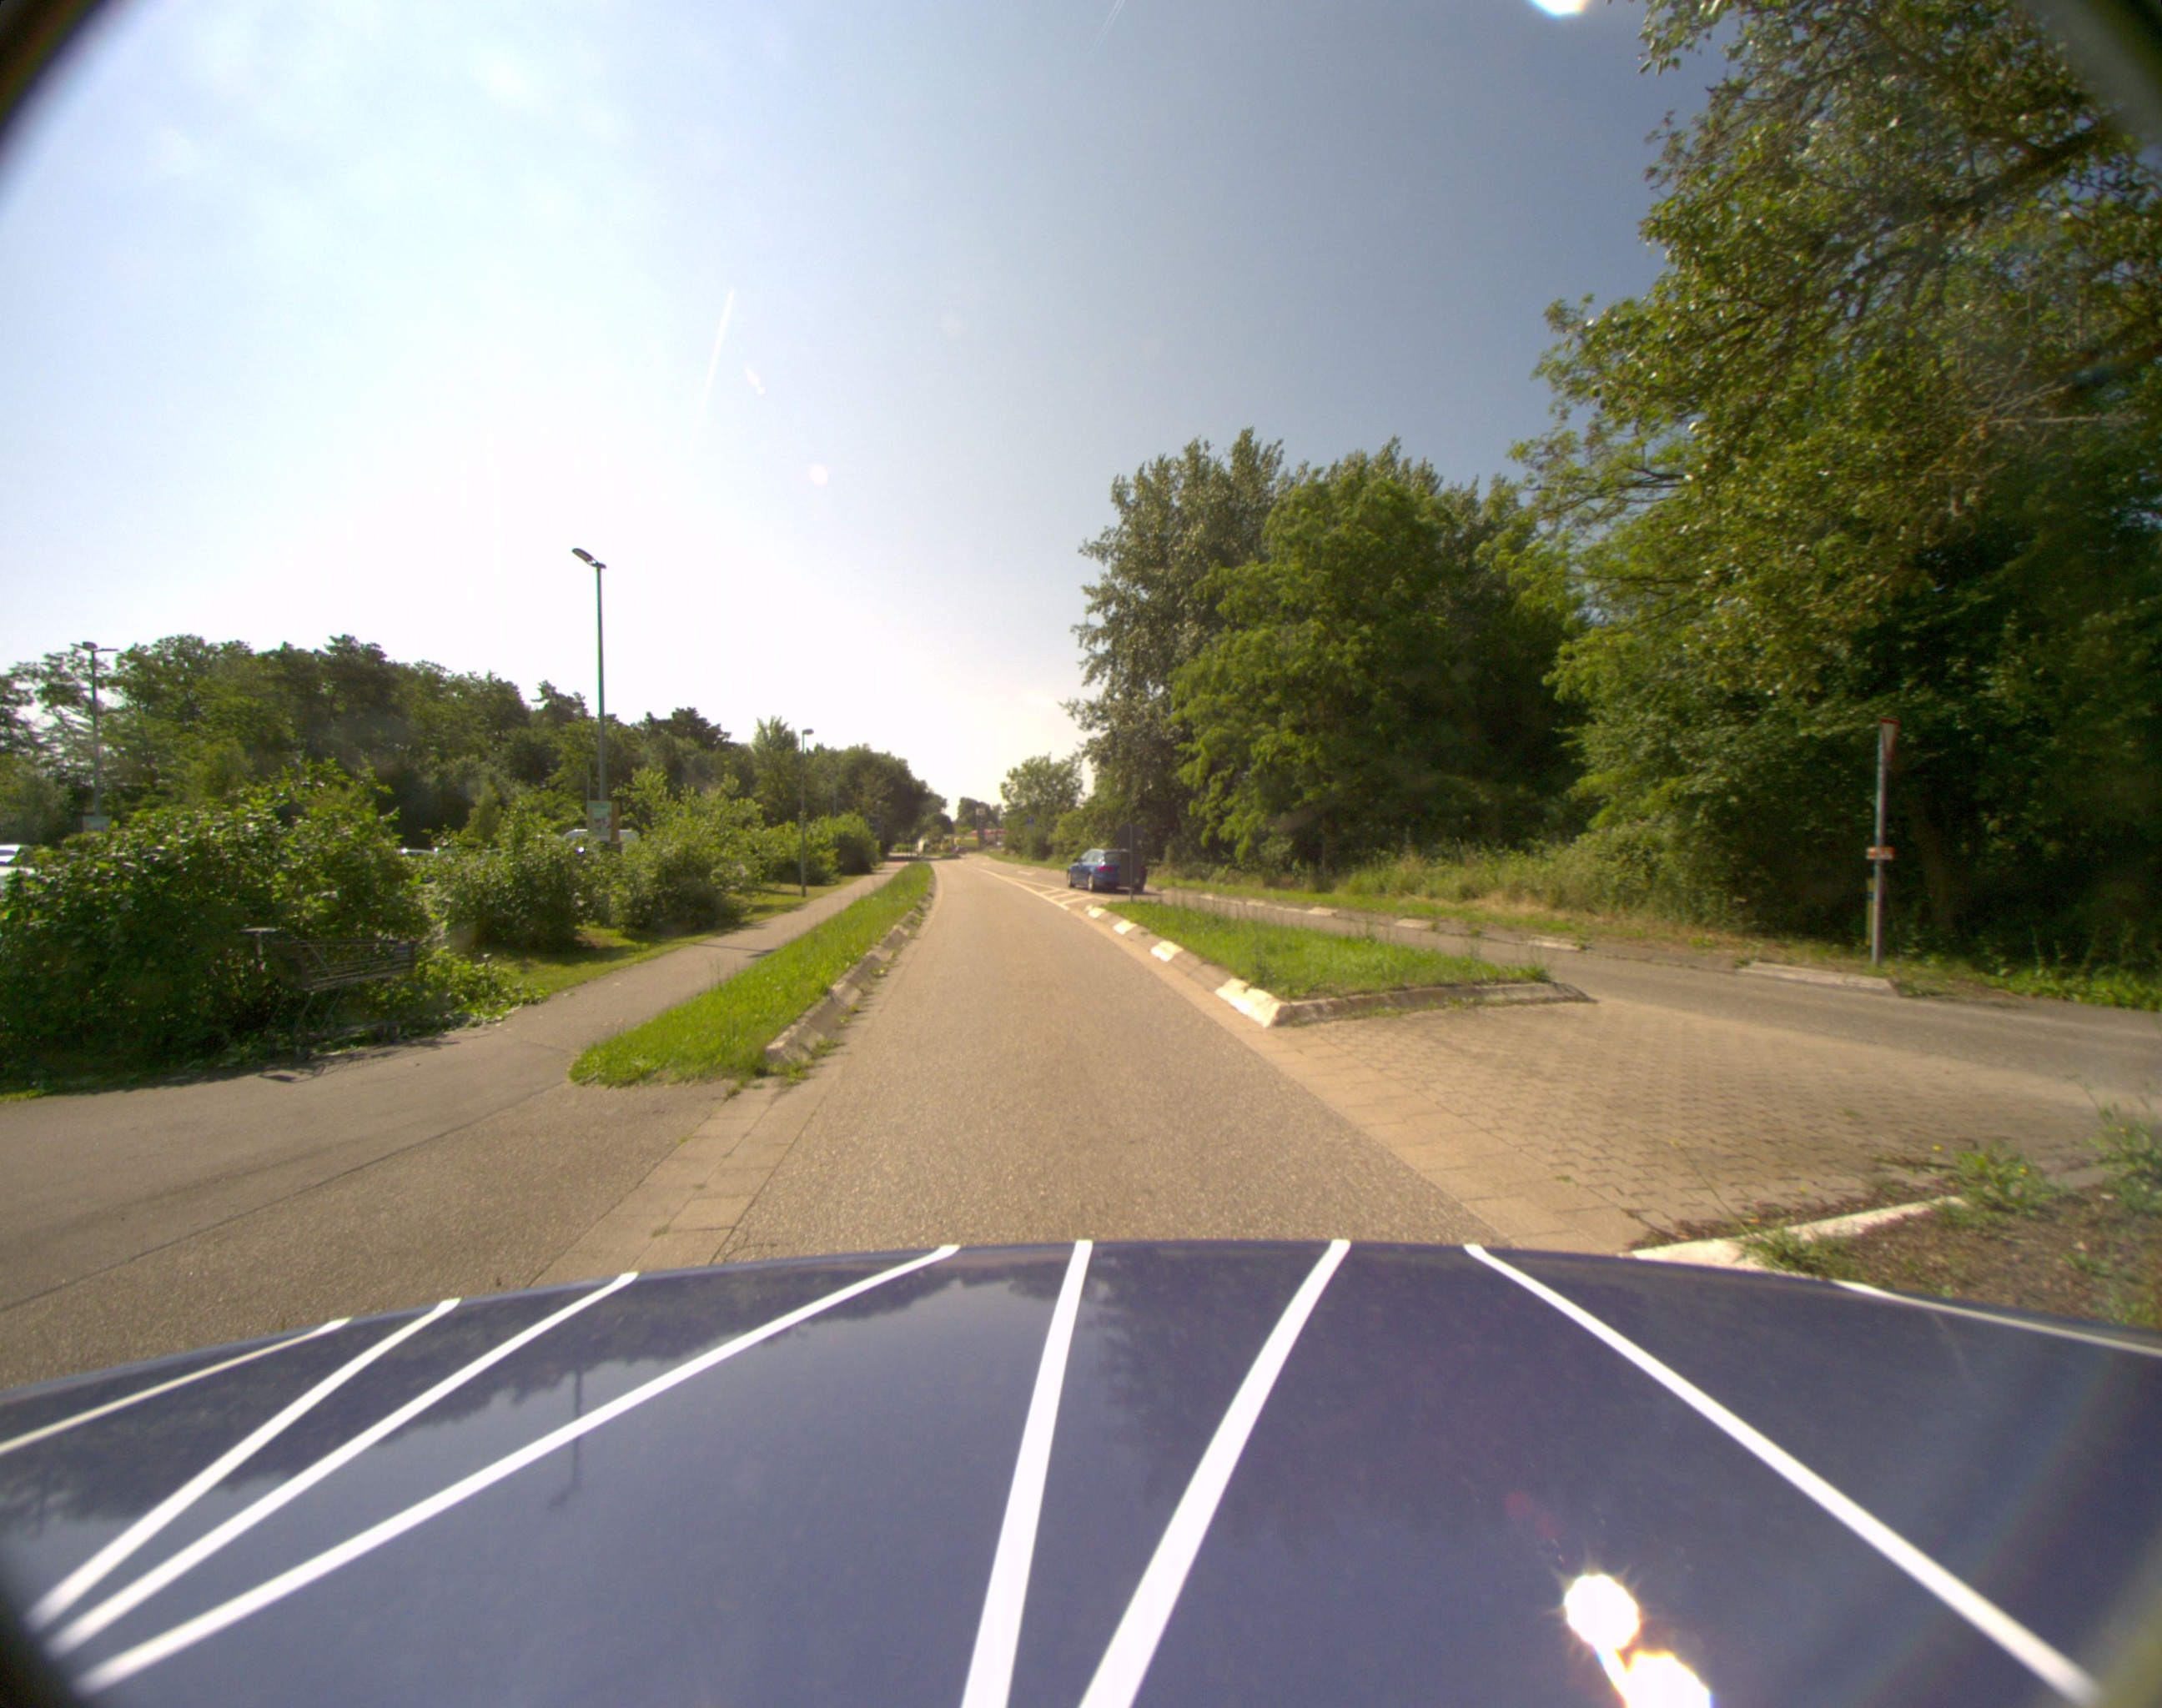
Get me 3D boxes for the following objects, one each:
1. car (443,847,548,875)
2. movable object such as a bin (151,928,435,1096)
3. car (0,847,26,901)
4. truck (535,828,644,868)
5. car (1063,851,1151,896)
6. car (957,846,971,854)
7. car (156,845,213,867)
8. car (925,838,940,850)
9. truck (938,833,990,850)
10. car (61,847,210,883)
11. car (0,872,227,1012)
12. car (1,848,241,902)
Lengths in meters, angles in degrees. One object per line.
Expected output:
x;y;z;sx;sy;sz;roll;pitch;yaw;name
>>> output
-30.742;0.340;40.015;3.979;1.445;1.901;0;1;-21;car
-6.766;1.290;6.630;0.869;1.114;1.457;0;1;17;movable object such as a bin
-36.082;0.742;22.878;4.568;1.693;1.994;-3;3;-38;car
-32.620;-0.398;50.635;5.619;2.590;2.200;0;1;-12;truck
0.789;0.608;26.011;1.839;1.379;4.418;0;0;-14;car
-19.129;-0.659;123.987;1.705;1.381;4.286;-1;1;-18;car
-63.551;0.132;53.929;1.666;1.477;4.360;-1;1;-37;car
-29.202;-1.926;149.126;1.920;2.386;4.900;-1;1;-22;car
-24.257;-2.514;157.526;10.345;3.374;3.879;0;1;-14;truck
-45.043;0.487;36.337;4.007;1.575;1.965;-1;1;-33;car
-13.656;1.035;9.495;3.606;1.553;1.812;1;1;-10;car
-27.148;0.543;21.650;4.002;1.434;1.648;0;1;-15;car
